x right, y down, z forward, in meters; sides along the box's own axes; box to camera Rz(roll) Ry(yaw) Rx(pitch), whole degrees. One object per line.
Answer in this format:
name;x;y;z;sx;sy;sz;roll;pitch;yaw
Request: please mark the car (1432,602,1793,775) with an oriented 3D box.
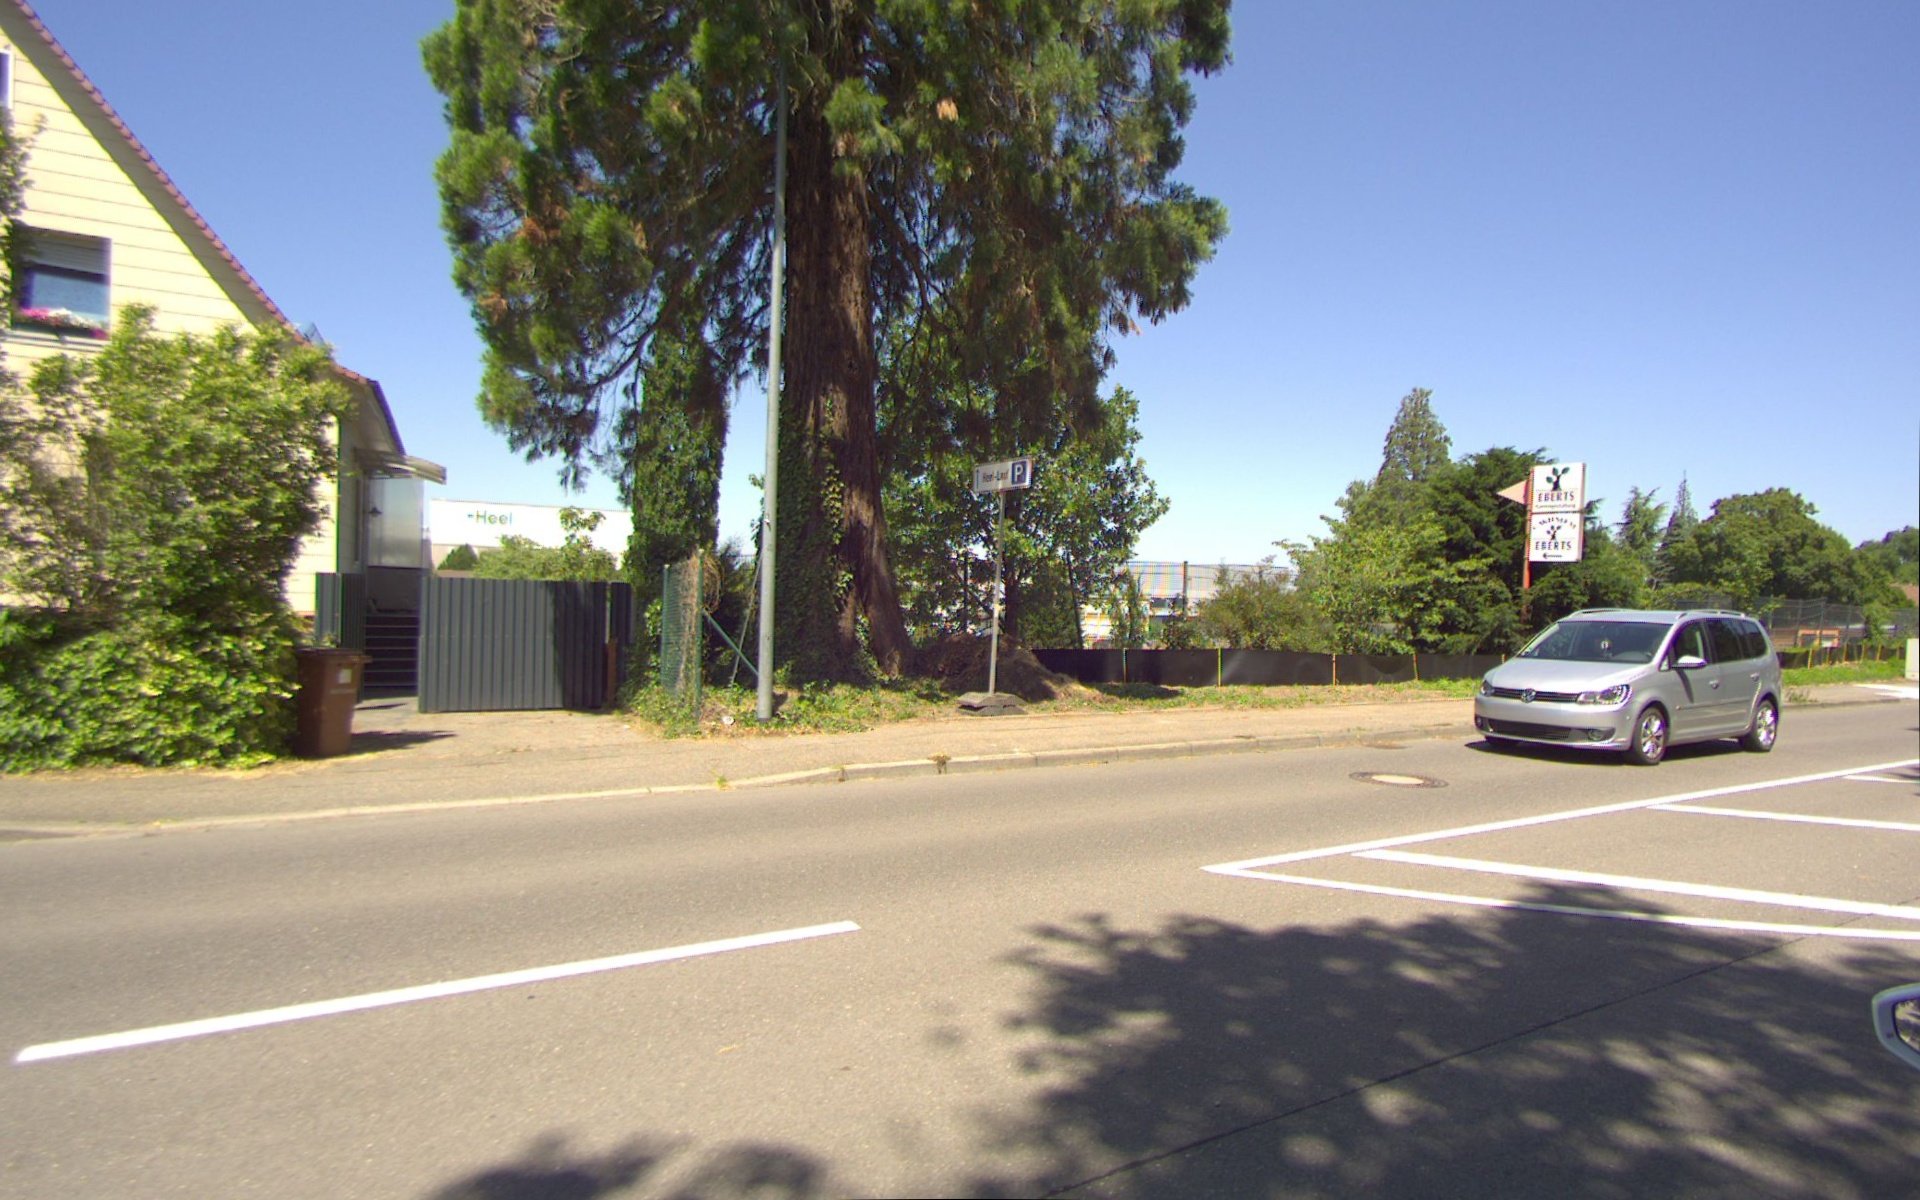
car;7.693;0.920;11.704;4.637;1.666;1.773;2;-1;-32
